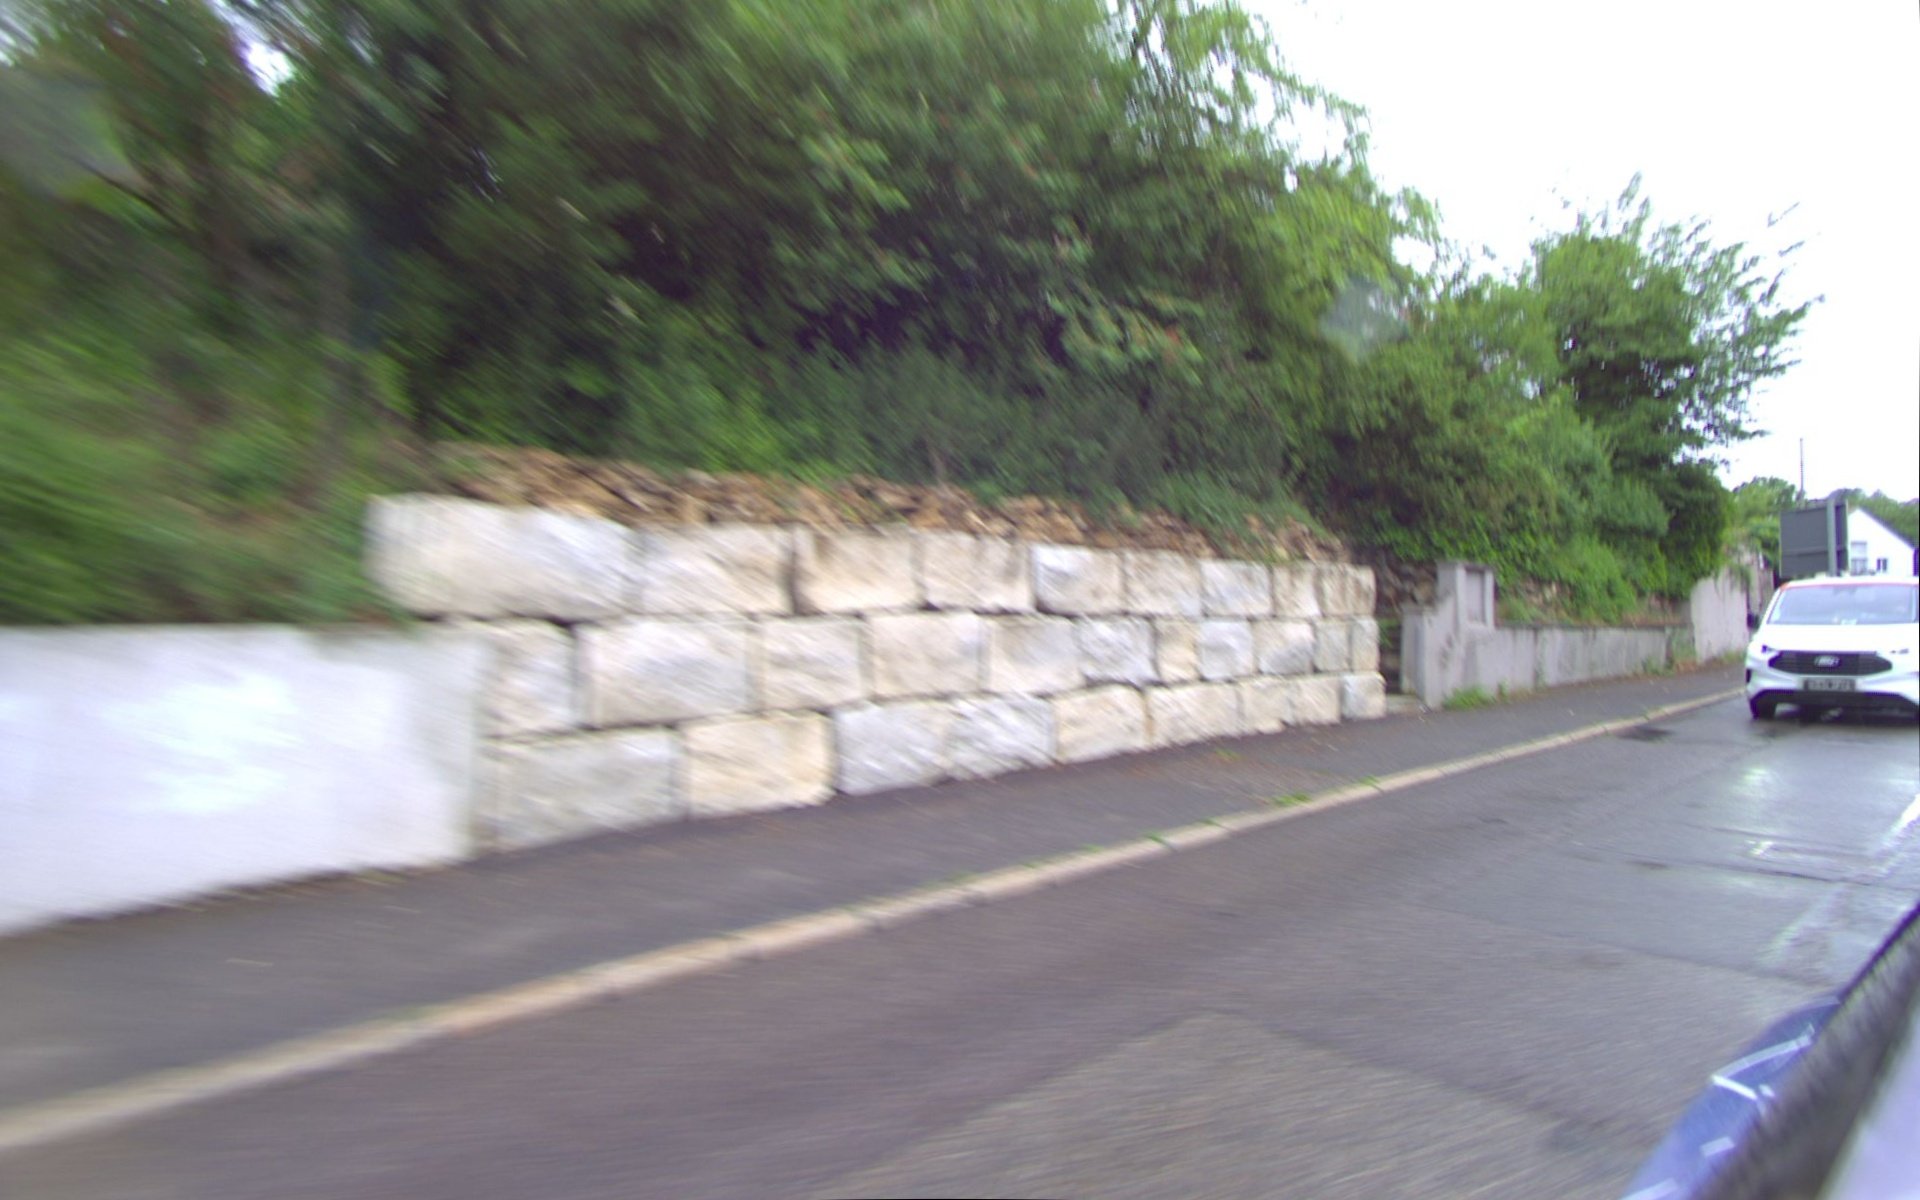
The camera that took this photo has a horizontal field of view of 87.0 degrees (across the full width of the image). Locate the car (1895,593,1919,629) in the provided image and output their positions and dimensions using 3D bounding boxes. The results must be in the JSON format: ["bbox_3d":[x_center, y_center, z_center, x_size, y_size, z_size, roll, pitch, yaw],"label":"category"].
[{"bbox_3d":[45.808,0.484,47.812,1.797,1.670,4.156,-2,-1,35],"label":"car"}]

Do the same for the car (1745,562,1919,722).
[{"bbox_3d":[12.977,0.516,14.347,4.436,1.964,2.040,0,-1,-41],"label":"car"}]
